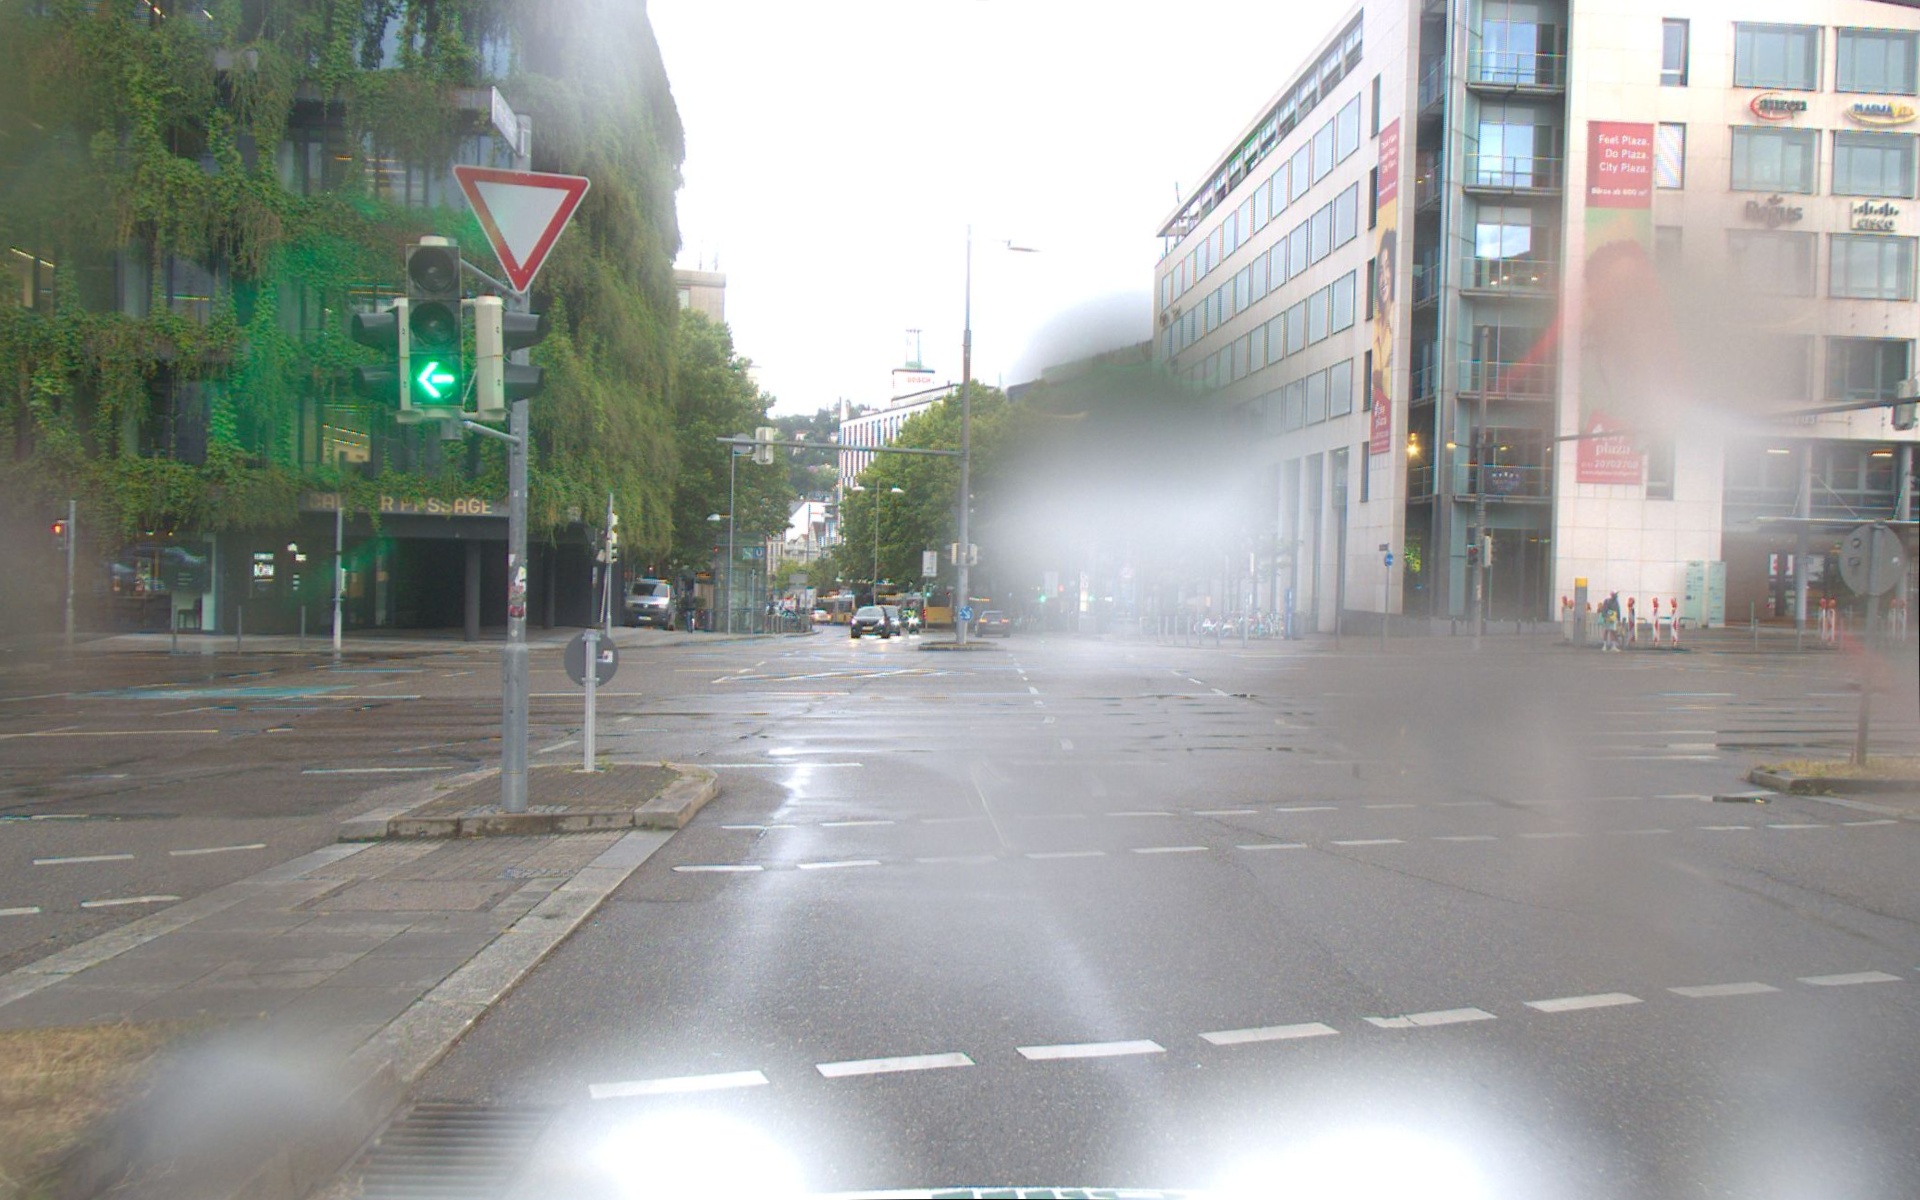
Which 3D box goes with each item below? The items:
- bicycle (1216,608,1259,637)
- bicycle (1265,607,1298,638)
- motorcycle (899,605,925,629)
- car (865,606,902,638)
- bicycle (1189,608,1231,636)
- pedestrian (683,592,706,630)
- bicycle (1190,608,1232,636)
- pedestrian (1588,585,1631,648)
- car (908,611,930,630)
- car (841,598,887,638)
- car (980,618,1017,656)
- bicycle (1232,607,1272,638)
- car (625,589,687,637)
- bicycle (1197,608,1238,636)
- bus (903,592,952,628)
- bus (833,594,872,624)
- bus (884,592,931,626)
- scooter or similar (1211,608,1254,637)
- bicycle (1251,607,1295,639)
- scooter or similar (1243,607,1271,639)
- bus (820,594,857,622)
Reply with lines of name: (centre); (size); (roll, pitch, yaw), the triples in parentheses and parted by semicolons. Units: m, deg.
bicycle: (11.930, 0.961, 71.042); (1.741, 1.215, 0.586); (1, -1, 1)
bicycle: (12.896, 0.924, 66.404); (0.575, 1.215, 1.776); (0, -1, 37)
motorcycle: (-3.153, 1.104, 107.711); (1.521, 1.541, 4.381); (1, -1, -3)
car: (-4.575, 1.290, 98.590); (2.121, 1.796, 5.108); (1, -1, -4)
bicycle: (10.901, 0.957, 72.195); (1.741, 1.215, 0.586); (1, -1, 1)
pedestrian: (-11.883, 0.481, 74.031); (0.915, 1.673, 0.774); (1, -1, -1)
bicycle: (11.044, 0.966, 72.832); (1.741, 1.215, 0.586); (1, -1, 1)
pedestrian: (19.379, 0.486, 49.358); (0.942, 1.848, 0.836); (1, -1, -1)
car: (-3.386, 1.728, 137.647); (1.745, 1.534, 3.999); (1, -1, -1)
car: (-4.621, 0.867, 79.763); (2.121, 1.796, 5.108); (1, -1, -4)
car: (2.136, 2.034, 91.428); (1.511, 2.049, 4.671); (1, -1, 8)
bicycle: (11.621, 0.896, 65.828); (0.578, 1.215, 1.766); (1, -1, -28)
car: (-12.353, 0.523, 67.416); (1.832, 1.871, 3.999); (1, -1, -1)
bicycle: (11.461, 0.984, 73.755); (1.741, 1.215, 0.586); (1, -1, 1)
bus: (-2.904, 0.836, 145.167); (2.585, 3.048, 7.417); (1, 0, -16)
bus: (-11.267, 0.911, 172.335); (2.585, 3.048, 7.296); (1, 0, -16)
bus: (-4.898, 0.843, 152.285); (2.585, 3.048, 7.417); (1, 0, -16)
scooter or similar: (11.585, 0.948, 70.414); (1.741, 1.215, 0.586); (1, -1, 1)
bicycle: (12.157, 0.887, 64.284); (1.590, 1.215, 0.586); (1, -1, 25)
scooter or similar: (11.421, 0.867, 63.589); (0.946, 1.215, 0.453); (0, -1, 40)
bus: (-13.261, 0.852, 179.403); (2.585, 3.048, 7.417); (1, 0, -16)
